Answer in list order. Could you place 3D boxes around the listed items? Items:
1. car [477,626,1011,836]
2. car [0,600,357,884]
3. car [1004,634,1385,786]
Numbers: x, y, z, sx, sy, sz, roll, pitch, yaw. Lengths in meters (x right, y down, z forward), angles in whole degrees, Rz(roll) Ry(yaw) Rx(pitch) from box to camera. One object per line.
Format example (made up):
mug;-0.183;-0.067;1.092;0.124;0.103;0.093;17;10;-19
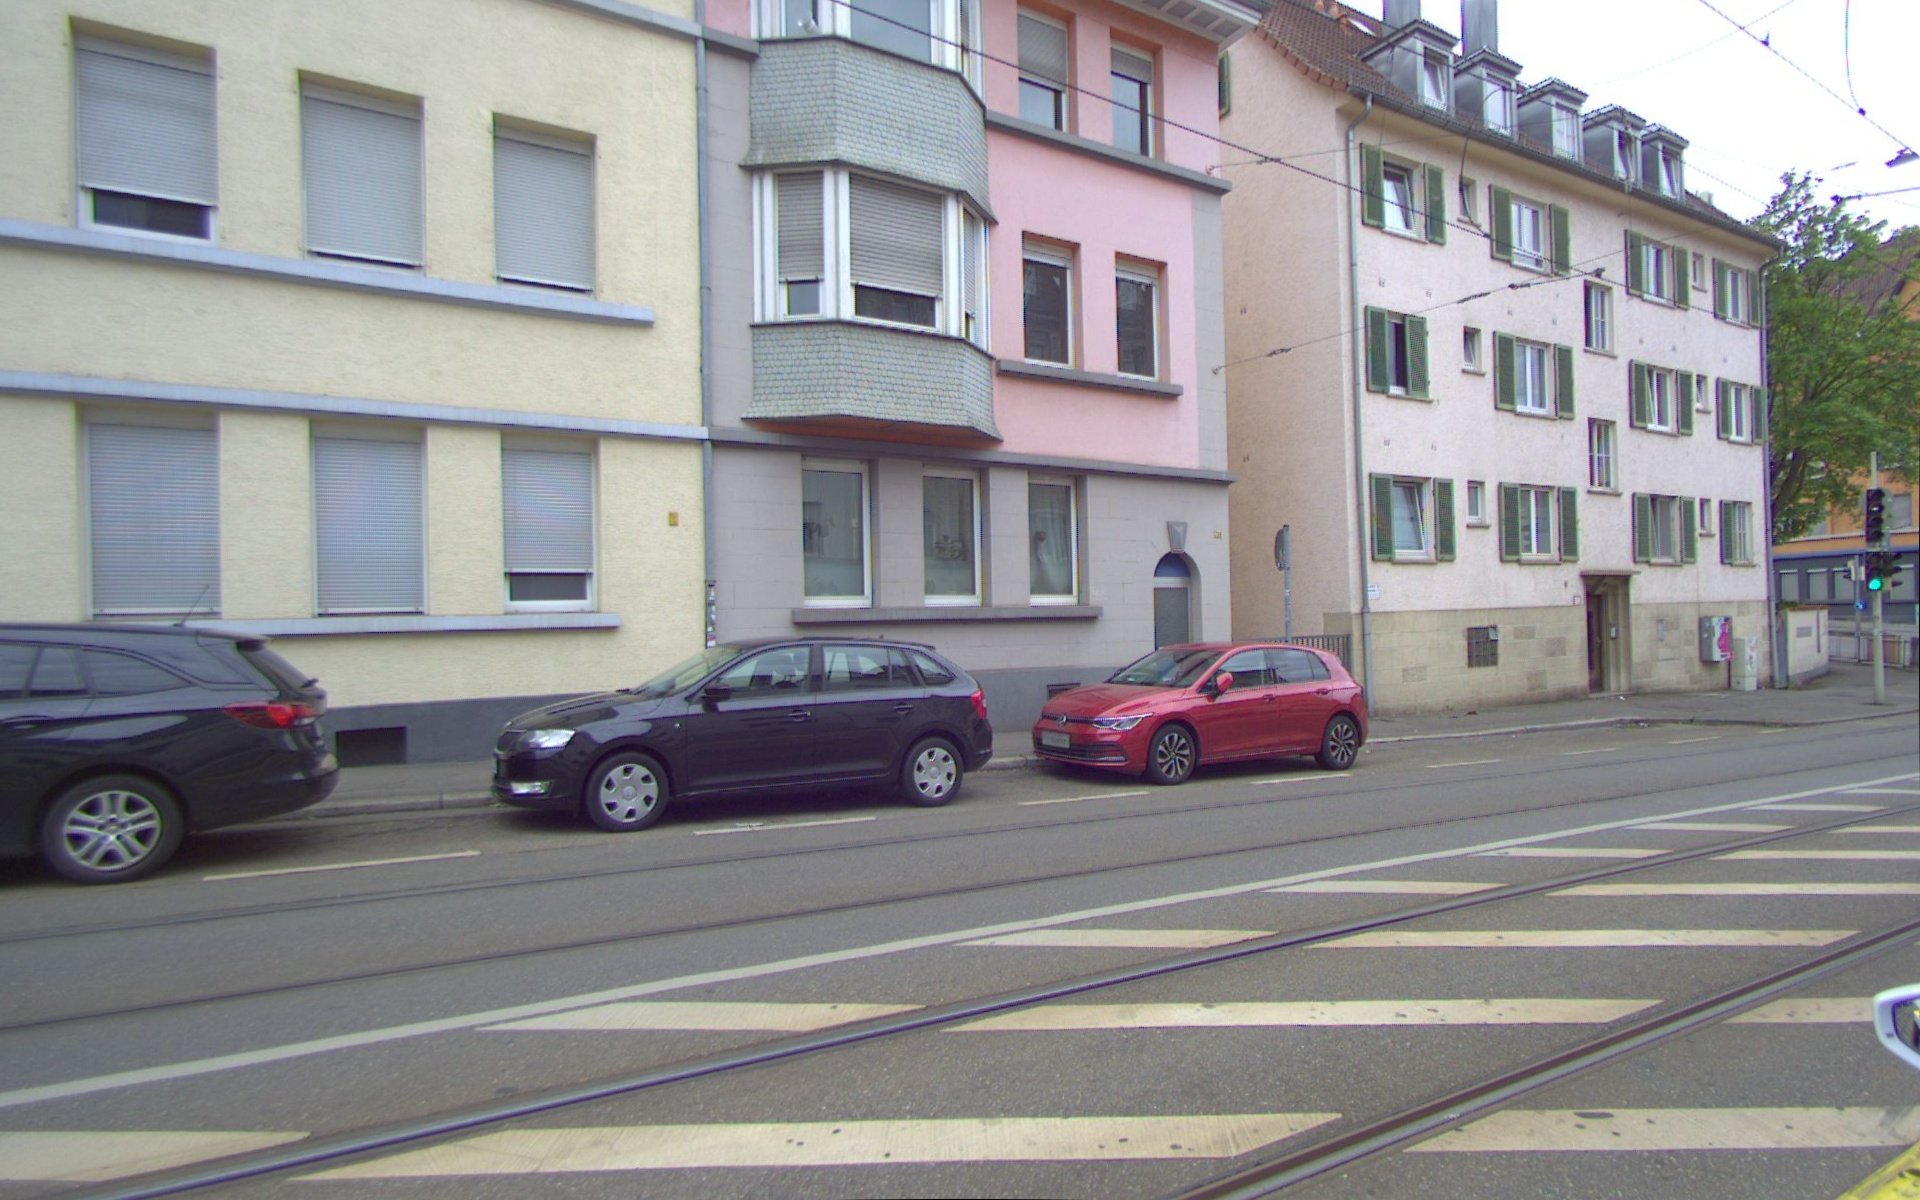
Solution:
car;-1.782;0.987;8.693;4.192;1.429;1.776;2;-3;-31
car;-6.174;0.779;5.857;4.473;1.531;1.776;2;-3;-31
car;2.742;1.150;11.508;4.212;1.457;1.776;2;-3;-31
